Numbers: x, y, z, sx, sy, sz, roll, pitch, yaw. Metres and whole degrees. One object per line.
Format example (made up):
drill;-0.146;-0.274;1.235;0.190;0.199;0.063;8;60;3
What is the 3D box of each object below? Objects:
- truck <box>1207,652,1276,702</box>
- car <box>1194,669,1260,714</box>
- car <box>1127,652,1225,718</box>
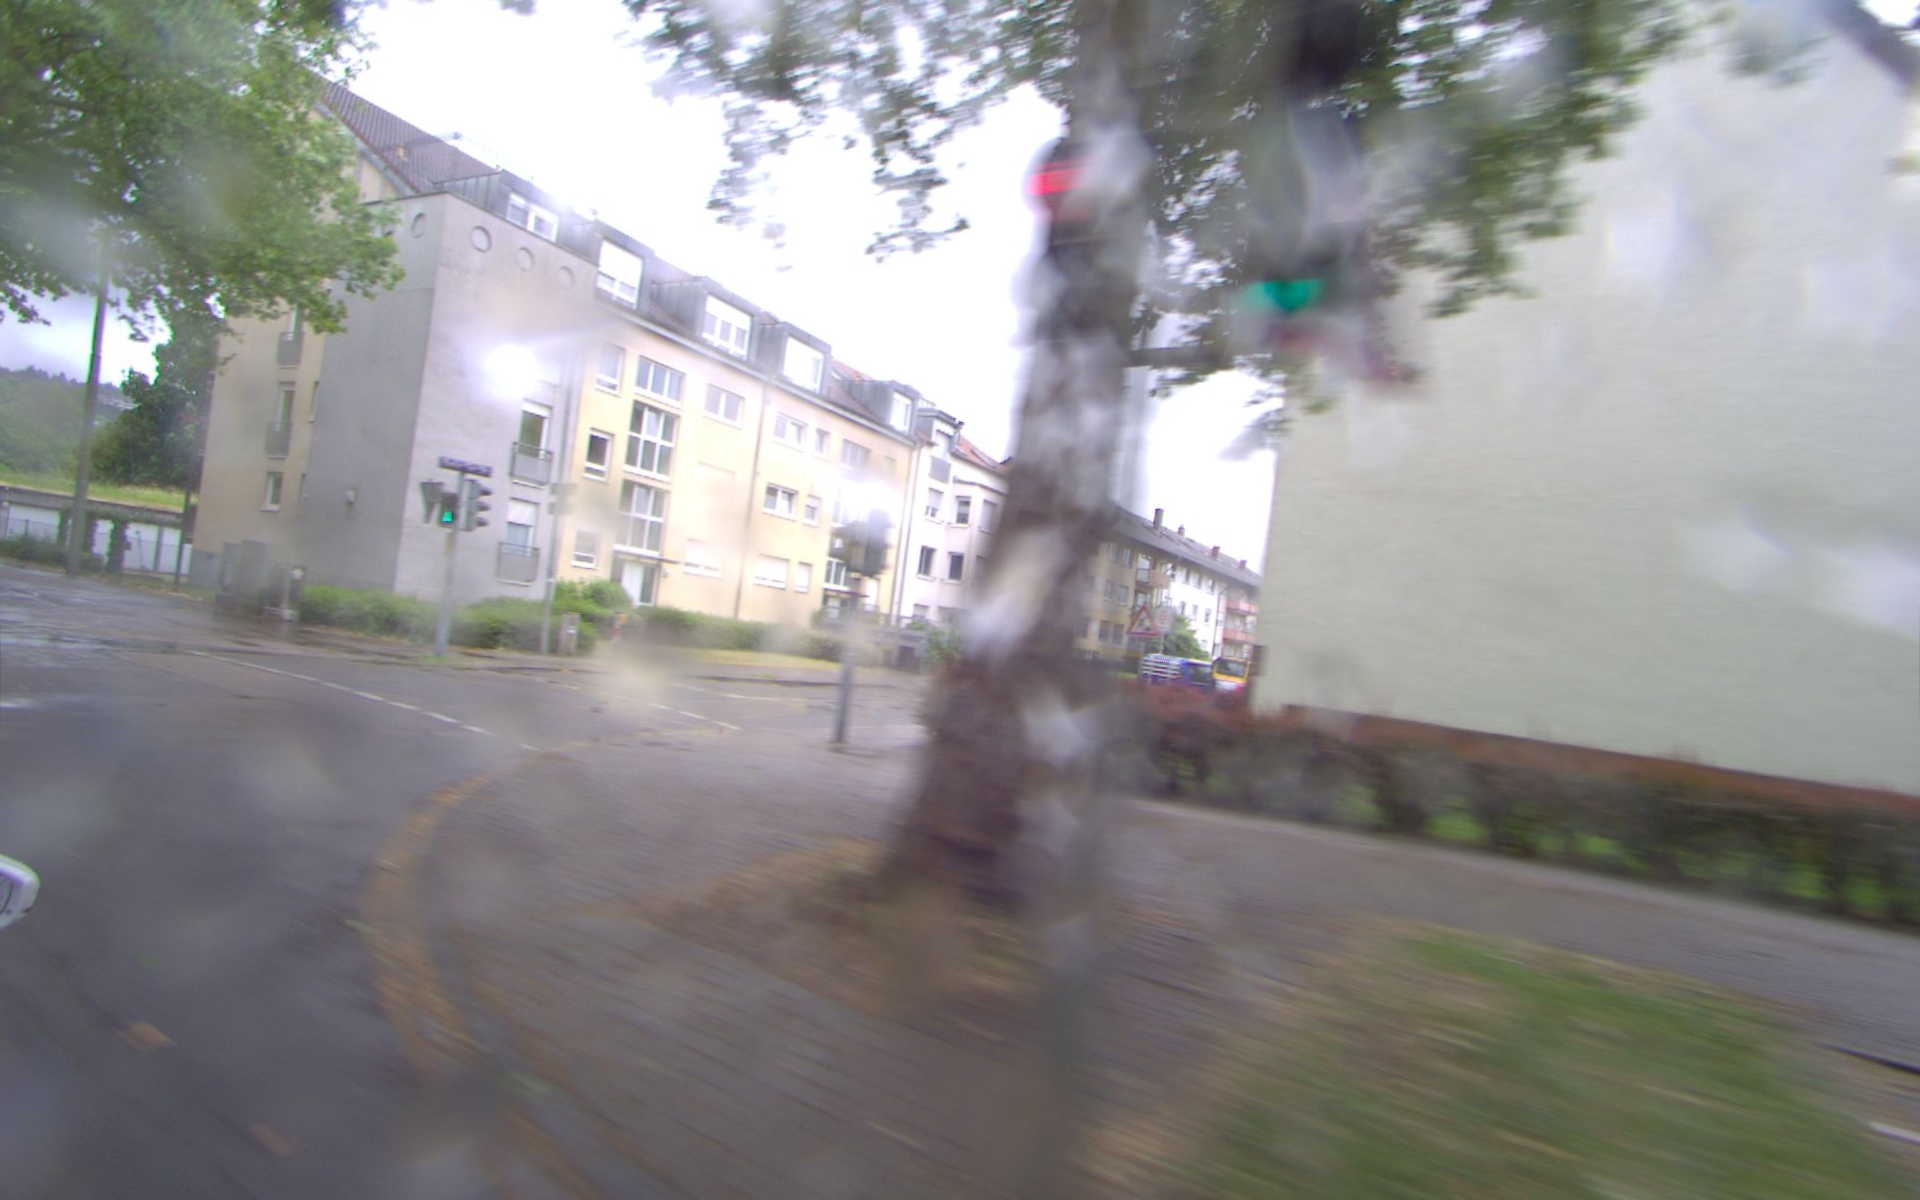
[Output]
truck;19.419;5.350;68.979;2.499;2.884;8.528;7;-2;29
car;10.879;3.729;40.885;1.691;1.517;3.515;7;-2;29
car;7.562;2.973;34.834;1.894;1.898;4.679;7;-2;29
